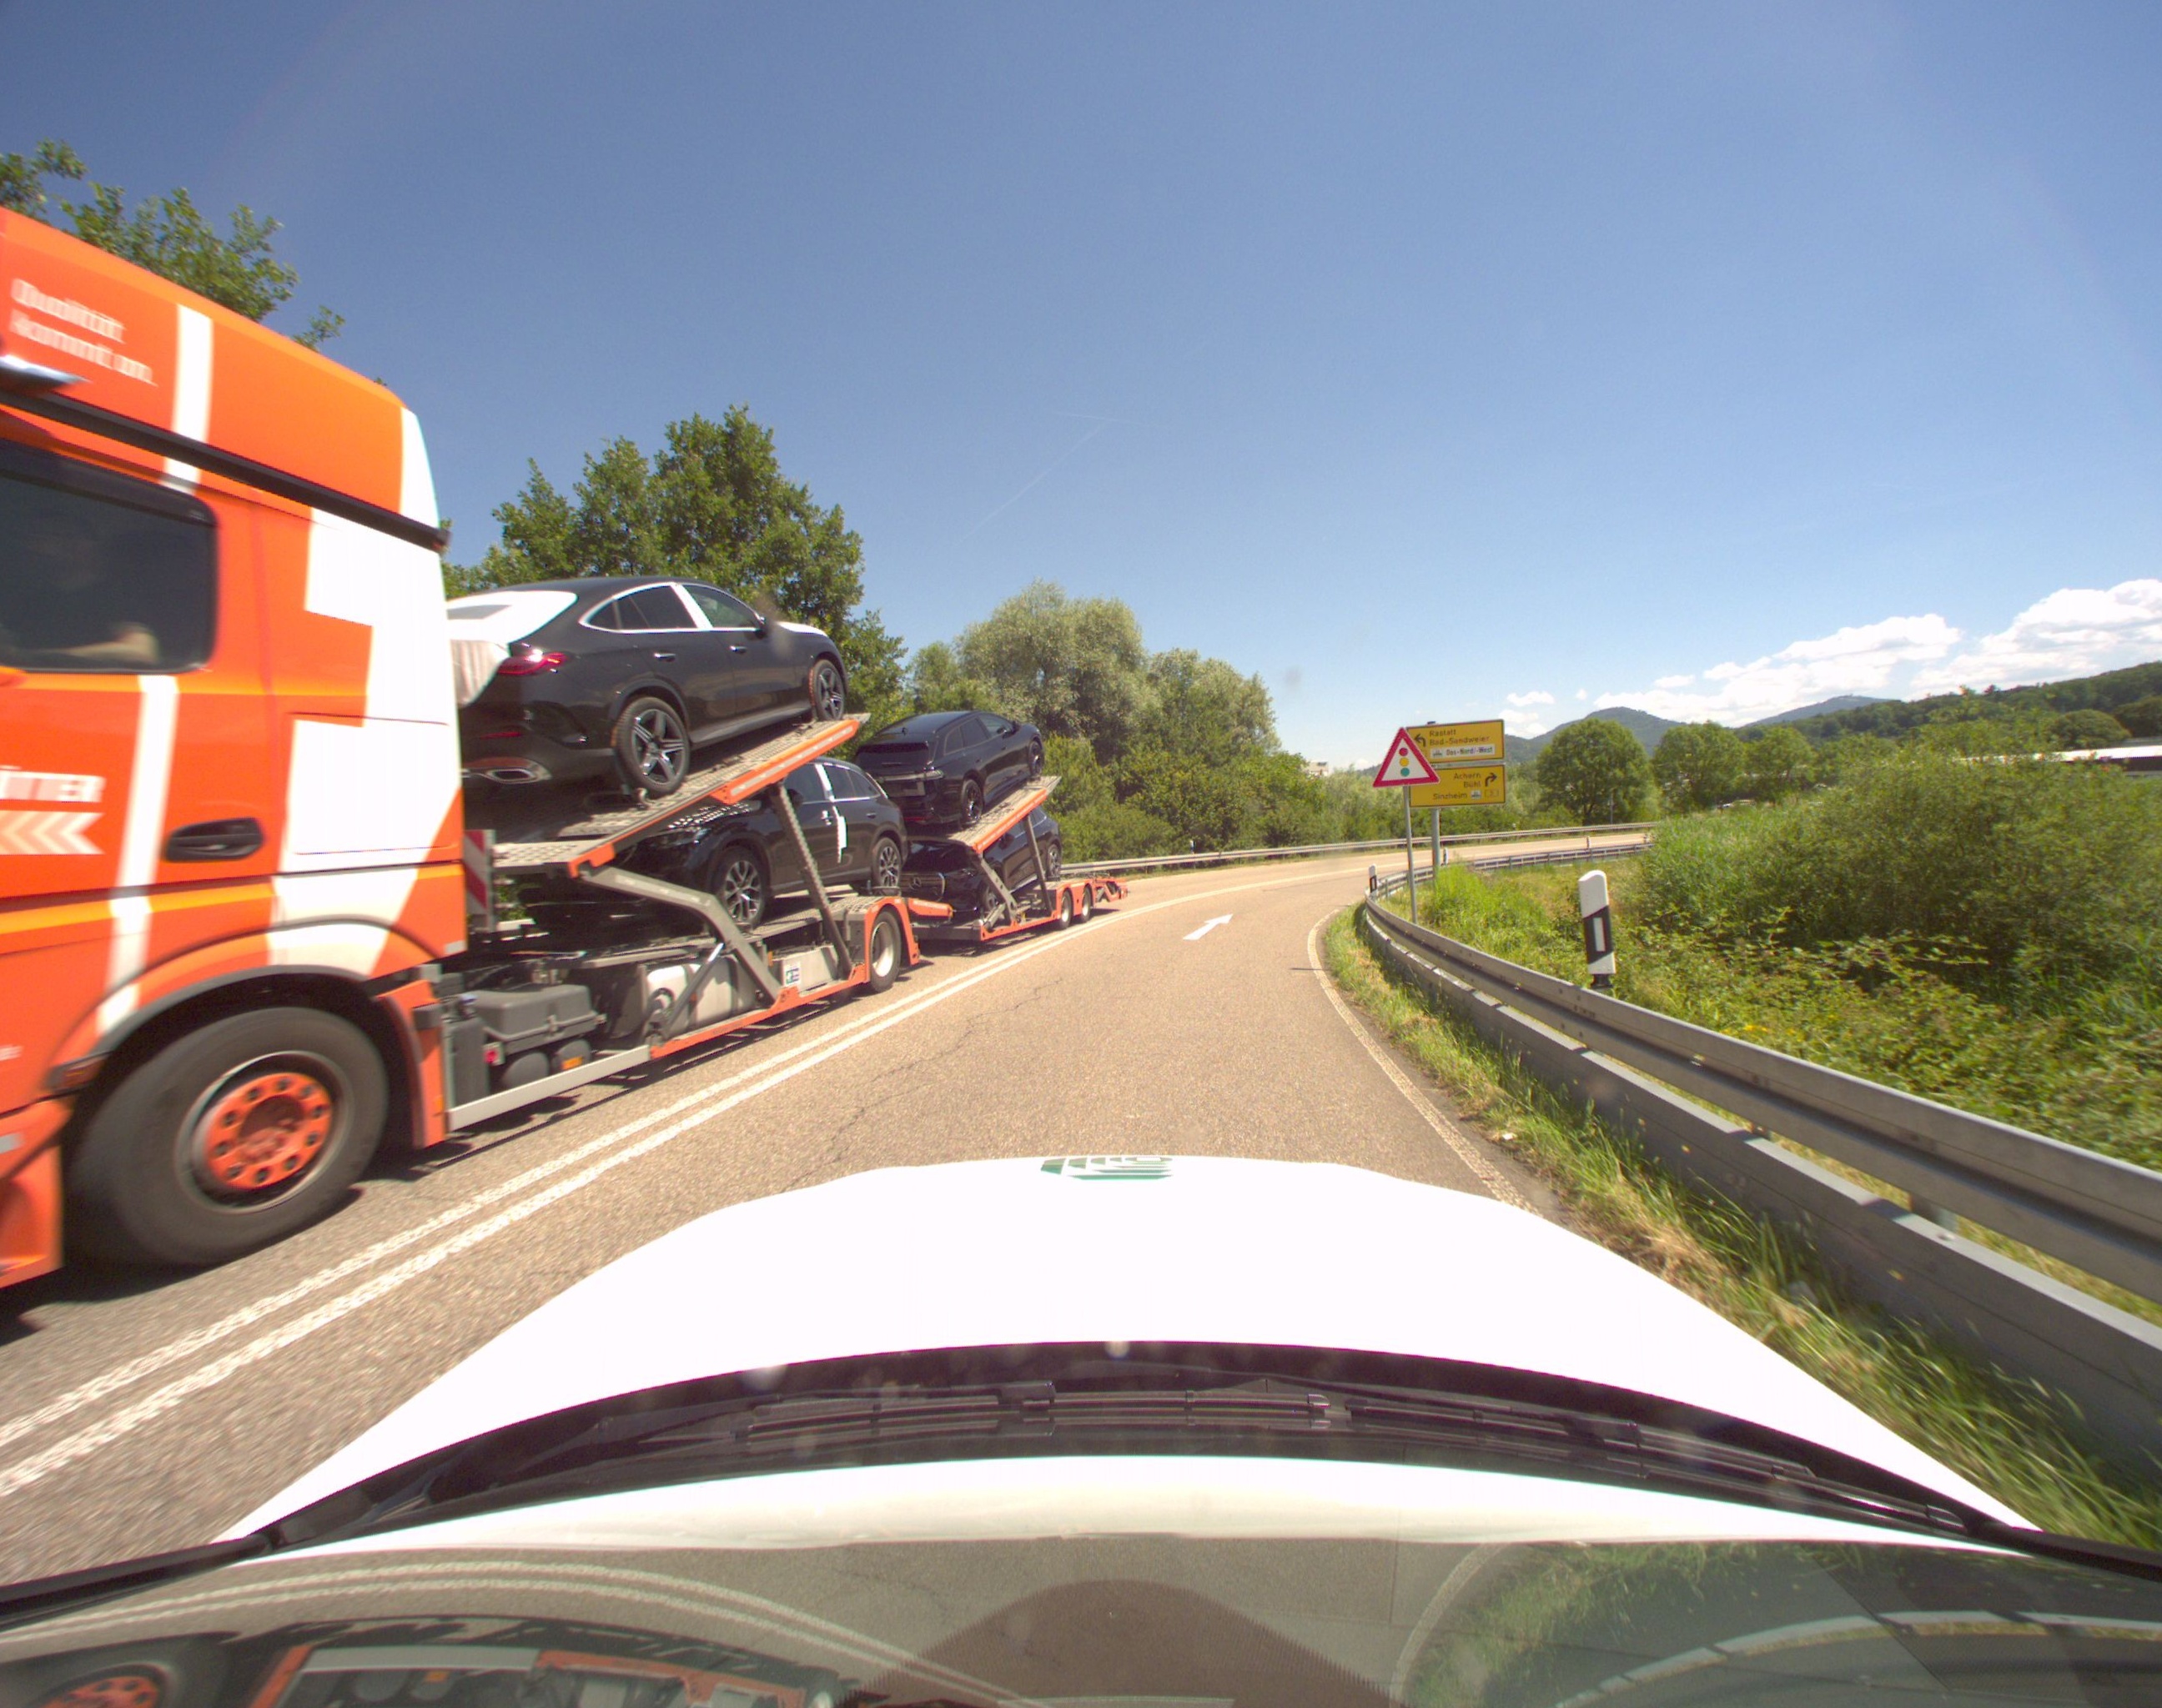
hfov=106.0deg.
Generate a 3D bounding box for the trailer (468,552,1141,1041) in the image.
[{"bbox_3d":[-2.014,-0.534,13.599,2.771,3.898,14.051,-1,0,18],"label":"trailer"}]

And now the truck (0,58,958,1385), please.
[{"bbox_3d":[-3.818,-0.427,6.064,2.771,3.898,8.809,-1,0,12],"label":"truck"}]
